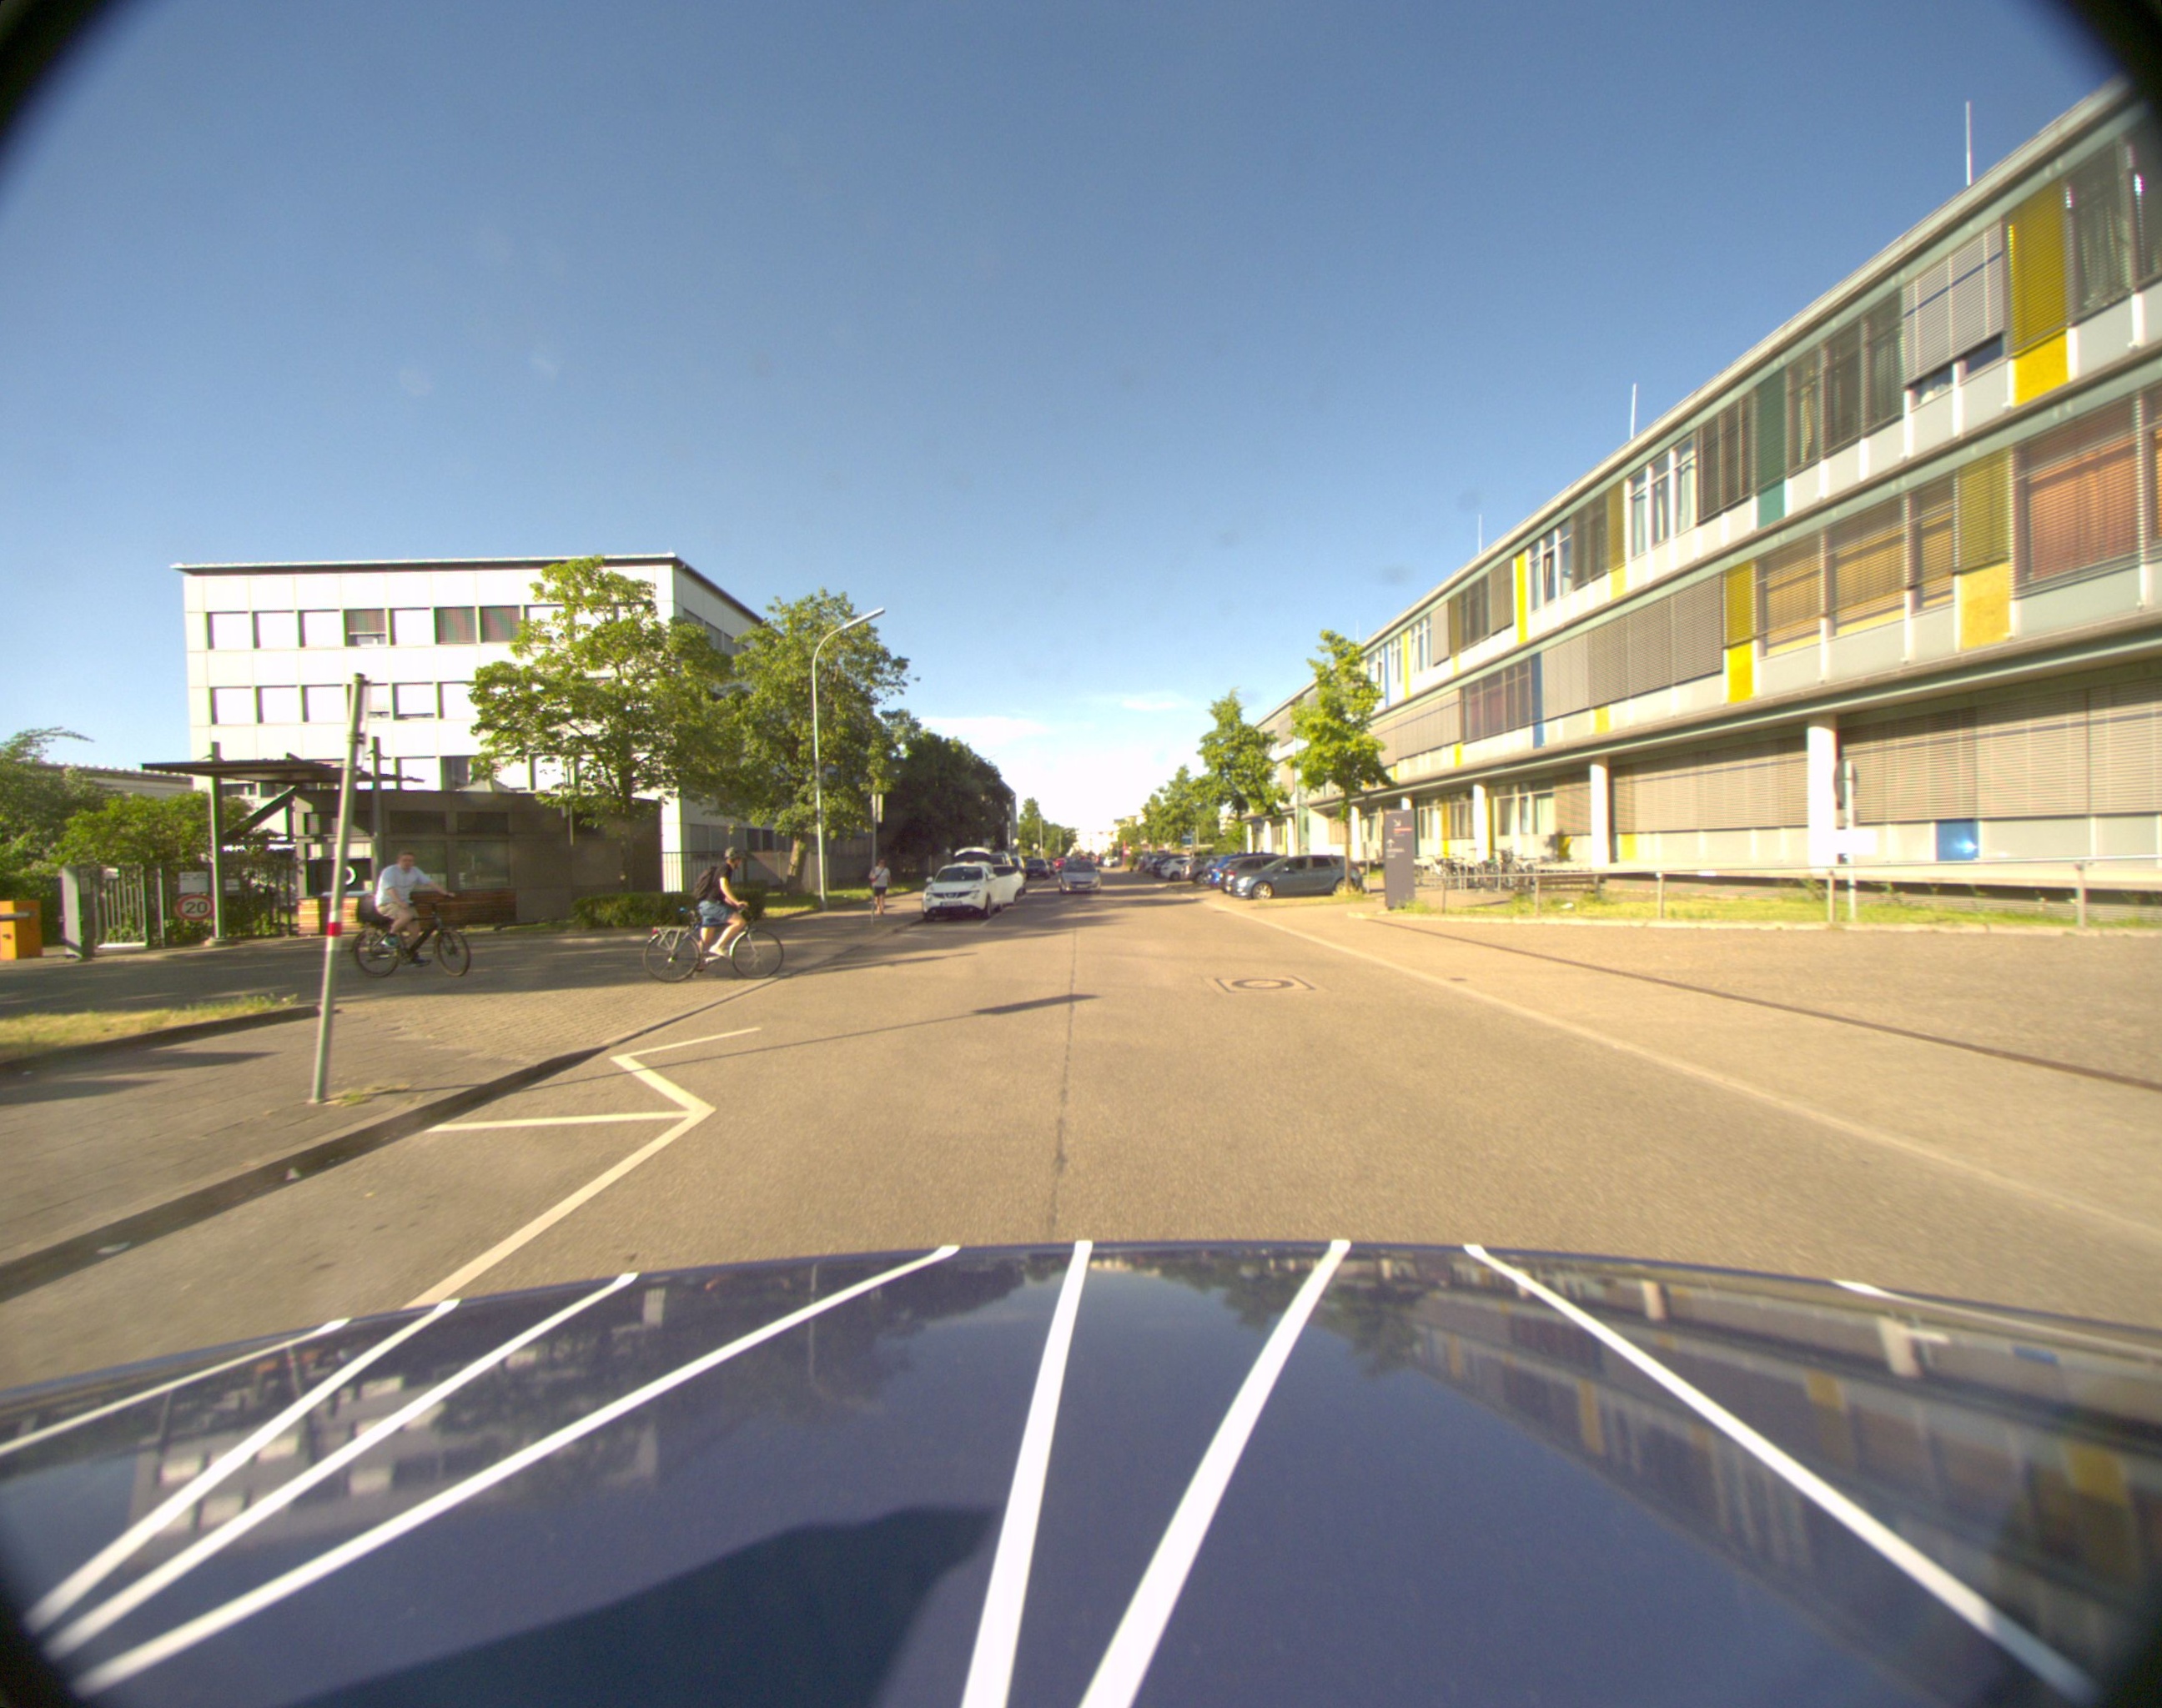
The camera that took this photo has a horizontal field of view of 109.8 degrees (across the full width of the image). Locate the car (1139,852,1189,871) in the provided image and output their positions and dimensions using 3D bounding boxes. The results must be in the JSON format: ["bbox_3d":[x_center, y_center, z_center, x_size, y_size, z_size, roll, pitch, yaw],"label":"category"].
[{"bbox_3d":[7.497,0.691,68.735,4.357,1.452,2.001,-3,0,5],"label":"car"}]

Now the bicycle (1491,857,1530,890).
[{"bbox_3d":[13.752,0.609,24.371,0.353,1.017,1.396,-1,0,-5],"label":"bicycle"}]

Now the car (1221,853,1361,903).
[{"bbox_3d":[6.947,0.779,25.417,4.142,1.458,1.753,-2,0,-1],"label":"car"}]

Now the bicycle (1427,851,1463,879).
[{"bbox_3d":[15.846,0.454,33.153,0.648,1.192,1.855,-1,0,-1],"label":"bicycle"}]

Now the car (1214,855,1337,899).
[{"bbox_3d":[7.063,0.817,27.858,3.998,1.429,1.730,-2,0,-2],"label":"car"}]

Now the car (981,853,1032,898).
[{"bbox_3d":[-3.271,0.915,34.086,1.706,1.784,4.294,-3,0,0],"label":"car"}]

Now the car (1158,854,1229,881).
[{"bbox_3d":[7.012,0.811,47.518,4.102,1.414,1.823,-3,1,-1],"label":"car"}]

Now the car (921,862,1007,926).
[{"bbox_3d":[-3.228,1.052,21.714,1.668,1.505,4.114,-3,0,1],"label":"car"}]

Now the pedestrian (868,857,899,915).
[{"bbox_3d":[-5.895,0.942,22.706,0.693,1.718,0.775,0,1,0],"label":"pedestrian"}]

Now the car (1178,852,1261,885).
[{"bbox_3d":[7.330,0.737,40.512,3.991,1.480,1.823,-3,1,-1],"label":"car"}]

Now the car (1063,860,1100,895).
[{"bbox_3d":[0.020,0.982,33.265,1.551,1.389,3.454,0,0,0],"label":"car"}]

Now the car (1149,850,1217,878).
[{"bbox_3d":[7.112,0.680,53.439,4.360,1.618,1.999,-3,1,-4],"label":"car"}]

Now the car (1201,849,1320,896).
[{"bbox_3d":[7.134,0.717,30.477,4.232,1.642,1.960,-2,0,-2],"label":"car"}]

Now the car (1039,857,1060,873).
[{"bbox_3d":[-3.113,1.072,75.559,1.824,1.435,4.294,-3,0,0],"label":"car"}]

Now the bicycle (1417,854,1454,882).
[{"bbox_3d":[14.581,0.554,31.304,0.648,1.089,1.855,-1,0,-1],"label":"bicycle"}]

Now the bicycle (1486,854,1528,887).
[{"bbox_3d":[15.272,0.567,27.266,0.448,1.129,1.855,-1,0,-1],"label":"bicycle"}]

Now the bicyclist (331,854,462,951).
[{"bbox_3d":[-9.453,0.653,10.521,1.098,1.261,0.863,-1,0,16],"label":"bicyclist"}]

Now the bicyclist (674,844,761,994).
[{"bbox_3d":[-5.128,0.881,10.787,1.054,2.001,0.958,0,0,-23],"label":"bicyclist"}]

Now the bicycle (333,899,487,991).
[{"bbox_3d":[-9.269,1.224,10.504,1.899,1.136,0.668,0,0,16],"label":"bicycle"}]

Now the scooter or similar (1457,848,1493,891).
[{"bbox_3d":[11.896,0.449,22.971,0.471,1.266,1.205,-1,0,2],"label":"scooter or similar"}]

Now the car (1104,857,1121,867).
[{"bbox_3d":[4.692,1.193,114.371,2.000,1.499,3.997,0,0,-6],"label":"car"}]

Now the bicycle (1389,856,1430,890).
[{"bbox_3d":[11.701,0.665,27.123,0.637,1.136,1.779,-1,0,-1],"label":"bicycle"}]

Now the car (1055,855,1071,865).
[{"bbox_3d":[-2.589,0.789,107.224,1.999,1.382,3.998,0,0,-4],"label":"car"}]

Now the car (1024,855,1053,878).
[{"bbox_3d":[-3.250,0.966,59.121,1.890,1.616,4.294,-3,0,0],"label":"car"}]

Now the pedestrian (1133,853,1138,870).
[{"bbox_3d":[5.682,0.757,78.777,0.369,1.712,0.479,-3,5,-3],"label":"pedestrian"}]

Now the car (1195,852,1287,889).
[{"bbox_3d":[7.412,0.738,35.323,3.752,1.480,1.777,-3,1,-8],"label":"car"}]

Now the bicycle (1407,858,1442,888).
[{"bbox_3d":[12.246,0.650,27.135,0.428,1.009,1.779,-1,0,-1],"label":"bicycle"}]

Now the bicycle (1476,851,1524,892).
[{"bbox_3d":[12.848,0.559,23.368,0.353,1.040,1.653,-1,-8,-5],"label":"bicycle"}]

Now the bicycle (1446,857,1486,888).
[{"bbox_3d":[13.374,0.626,26.451,0.448,1.009,1.779,-1,0,-1],"label":"bicycle"}]

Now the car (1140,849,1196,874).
[{"bbox_3d":[7.229,0.605,63.212,4.359,1.852,2.000,-3,0,1],"label":"car"}]

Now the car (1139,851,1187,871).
[{"bbox_3d":[7.752,0.660,71.779,4.357,1.637,2.001,-3,1,5],"label":"car"}]

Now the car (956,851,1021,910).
[{"bbox_3d":[-3.254,0.871,27.584,1.869,1.859,5.020,-3,0,-3],"label":"car"}]

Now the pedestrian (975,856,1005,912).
[{"bbox_3d":[-2.904,0.953,24.235,0.589,1.735,0.706,-3,1,19],"label":"pedestrian"}]

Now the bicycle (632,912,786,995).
[{"bbox_3d":[-5.215,1.371,10.757,1.888,1.003,0.699,1,1,-24],"label":"bicycle"}]

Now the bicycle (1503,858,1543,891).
[{"bbox_3d":[14.178,0.658,24.406,0.353,1.017,1.396,-1,0,-5],"label":"bicycle"}]

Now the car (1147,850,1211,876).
[{"bbox_3d":[7.236,0.660,56.449,4.360,1.581,1.999,-3,0,-4],"label":"car"}]
